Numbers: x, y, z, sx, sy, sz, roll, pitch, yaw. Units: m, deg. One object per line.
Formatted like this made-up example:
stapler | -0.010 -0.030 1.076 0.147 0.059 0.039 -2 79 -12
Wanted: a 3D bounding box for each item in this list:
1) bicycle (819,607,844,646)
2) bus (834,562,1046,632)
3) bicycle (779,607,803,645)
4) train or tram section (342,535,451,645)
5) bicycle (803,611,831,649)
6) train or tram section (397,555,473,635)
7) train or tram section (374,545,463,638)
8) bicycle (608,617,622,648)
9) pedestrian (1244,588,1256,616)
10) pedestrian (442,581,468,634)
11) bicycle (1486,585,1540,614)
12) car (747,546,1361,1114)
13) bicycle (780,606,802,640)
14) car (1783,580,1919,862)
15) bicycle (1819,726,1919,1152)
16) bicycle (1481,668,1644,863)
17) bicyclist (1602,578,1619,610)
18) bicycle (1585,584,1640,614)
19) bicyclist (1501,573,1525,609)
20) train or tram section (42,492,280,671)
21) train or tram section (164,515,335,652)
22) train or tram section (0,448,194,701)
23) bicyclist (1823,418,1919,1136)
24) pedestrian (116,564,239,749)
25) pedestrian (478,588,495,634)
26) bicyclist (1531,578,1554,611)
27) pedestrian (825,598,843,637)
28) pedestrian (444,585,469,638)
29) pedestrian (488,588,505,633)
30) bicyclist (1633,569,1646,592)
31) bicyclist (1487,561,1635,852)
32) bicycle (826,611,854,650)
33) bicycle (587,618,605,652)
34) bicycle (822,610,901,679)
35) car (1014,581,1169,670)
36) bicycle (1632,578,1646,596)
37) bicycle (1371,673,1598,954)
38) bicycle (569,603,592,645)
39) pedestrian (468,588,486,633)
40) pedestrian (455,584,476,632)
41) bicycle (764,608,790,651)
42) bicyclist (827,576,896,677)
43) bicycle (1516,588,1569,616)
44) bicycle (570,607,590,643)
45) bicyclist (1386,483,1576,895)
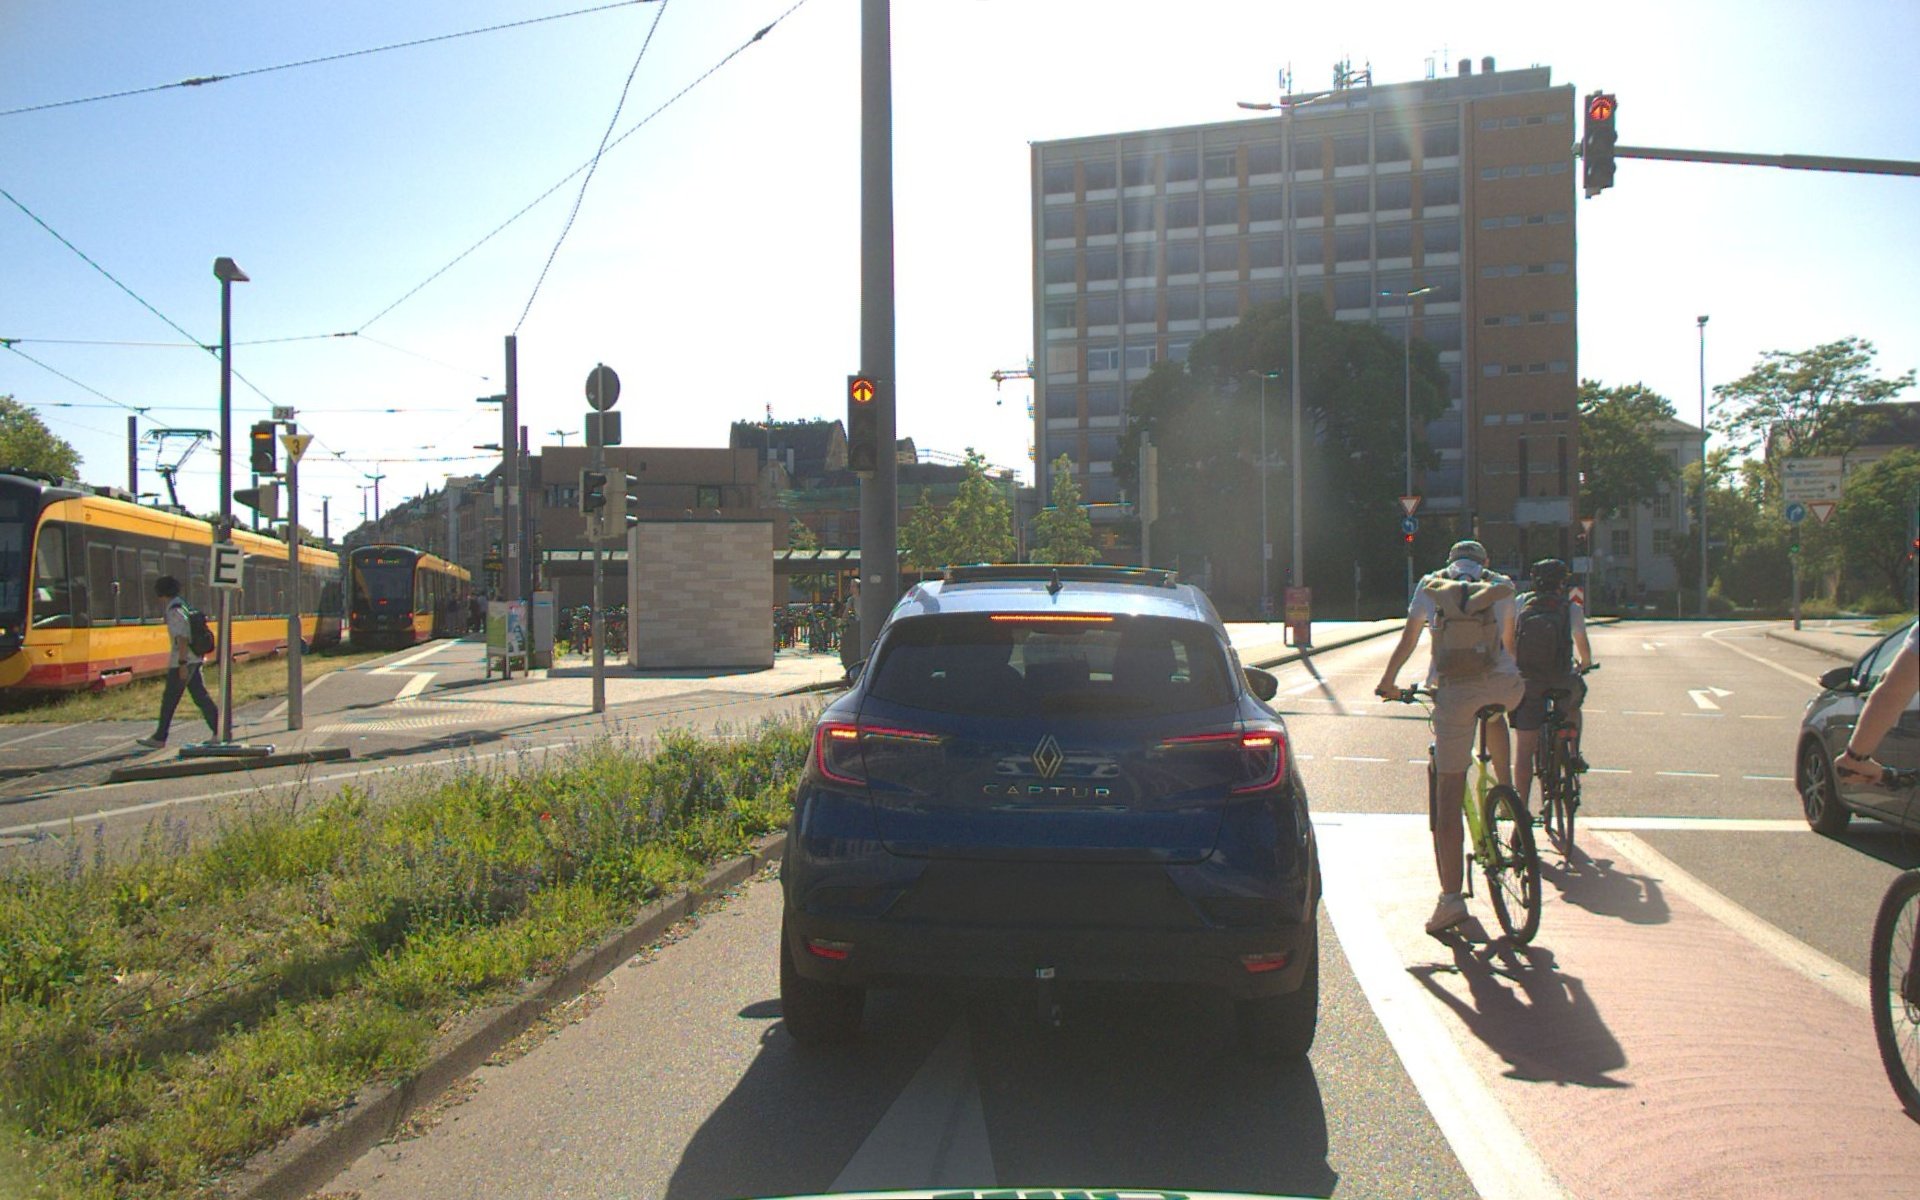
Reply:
bicycle | -3.781 0.778 48.706 0.570 1.107 2.054 1 -1 -9
bus | -1.246 -0.081 86.747 12.212 3.455 2.867 -1 -2 40
bicycle | -4.966 0.769 48.616 0.570 1.107 2.054 1 -1 -9
train or tram section | -19.866 -0.315 58.839 2.823 3.569 10.502 0 0 -14
bicycle | -3.733 0.784 42.975 0.570 0.978 2.054 1 -1 -9
train or tram section | -25.036 -0.223 79.272 2.823 3.569 10.502 0 0 -14
train or tram section | -22.466 -0.304 69.023 2.823 3.569 10.502 0 0 -14
bicycle | -10.947 1.020 52.481 0.414 0.954 1.375 1 0 -12
pedestrian | 17.805 0.135 101.589 0.551 1.699 0.474 -1 -2 36
pedestrian | -18.282 0.285 59.890 0.833 1.916 0.757 1 -1 -16
bicycle | 30.303 -0.043 90.621 2.746 1.568 0.883 0 -1 25
car | 0.421 0.660 6.690 1.785 1.628 3.661 1 0 5
bicycle | -5.738 0.785 56.078 0.570 1.107 1.866 1 -1 -11
car | 6.242 0.671 9.435 1.718 1.568 3.662 0 0 8
bicycle | 2.868 0.945 4.274 0.598 1.096 1.831 0 0 9
bicycle | 3.646 0.958 10.137 0.707 0.976 1.885 1 0 13
bicyclist | 35.469 -0.329 90.201 0.841 1.721 0.884 0 -1 24
bicycle | 35.542 -0.041 90.147 2.746 1.568 0.883 0 -1 25
bicyclist | 30.310 -0.476 90.614 1.183 1.930 0.883 0 -1 24
train or tram section | -18.138 -0.352 38.375 2.768 3.569 10.573 0 0 -14
train or tram section | -20.701 -0.418 48.909 2.768 3.569 11.170 0 0 -14
train or tram section | -15.575 -0.341 28.145 2.771 3.569 10.437 -1 0 -15
bicyclist | 2.803 0.447 4.267 0.733 1.807 1.015 0 0 9
pedestrian | -8.260 0.582 17.499 1.000 1.864 0.757 -2 -1 -16
pedestrian | -19.634 0.467 68.635 0.623 1.889 0.699 1 -1 -20
bicyclist | 33.003 -0.313 93.689 1.132 1.829 0.885 0 -1 14
pedestrian | -6.049 0.841 79.601 0.710 1.889 0.703 0 -1 8
pedestrian | -18.578 0.425 61.024 0.833 1.916 0.757 1 -1 -16
pedestrian | -19.779 0.454 70.606 0.621 1.889 0.701 1 -1 -11
bicyclist | 42.604 -1.232 103.712 0.606 1.469 0.818 -1 0 29
bicyclist | 3.618 0.604 10.028 0.706 1.654 1.056 1 0 13
bicycle | -3.134 0.789 43.072 0.570 0.978 2.054 1 -1 -9
bicycle | -10.442 1.004 47.466 0.415 0.954 1.300 1 0 -15
bicycle | -1.652 0.733 27.996 0.756 1.099 2.037 -1 -1 13
car | 2.484 0.423 30.311 1.763 1.417 4.094 -1 1 20
bicycle | 42.615 -0.823 103.723 0.597 1.112 1.669 -1 0 29
bicycle | 2.400 0.923 7.778 0.648 1.065 1.891 0 0 6
bicycle | -10.483 0.668 45.748 0.556 1.112 2.023 1 -1 -11
pedestrian | -20.753 0.458 71.117 0.620 1.889 0.701 1 -1 -9
pedestrian | -19.658 0.338 65.764 0.661 1.889 0.701 1 -1 -9
bicycle | -4.727 0.770 42.585 0.570 1.076 1.812 1 -1 -9
bicyclist | -1.663 0.442 28.048 0.861 1.673 1.061 -1 -1 13
bicycle | 32.998 0.131 93.686 2.742 1.568 0.885 0 -1 14
bicycle | -11.947 0.779 52.034 0.556 1.112 2.023 1 -1 -11
bicyclist | 2.384 0.384 7.666 0.649 1.778 1.006 0 0 6
